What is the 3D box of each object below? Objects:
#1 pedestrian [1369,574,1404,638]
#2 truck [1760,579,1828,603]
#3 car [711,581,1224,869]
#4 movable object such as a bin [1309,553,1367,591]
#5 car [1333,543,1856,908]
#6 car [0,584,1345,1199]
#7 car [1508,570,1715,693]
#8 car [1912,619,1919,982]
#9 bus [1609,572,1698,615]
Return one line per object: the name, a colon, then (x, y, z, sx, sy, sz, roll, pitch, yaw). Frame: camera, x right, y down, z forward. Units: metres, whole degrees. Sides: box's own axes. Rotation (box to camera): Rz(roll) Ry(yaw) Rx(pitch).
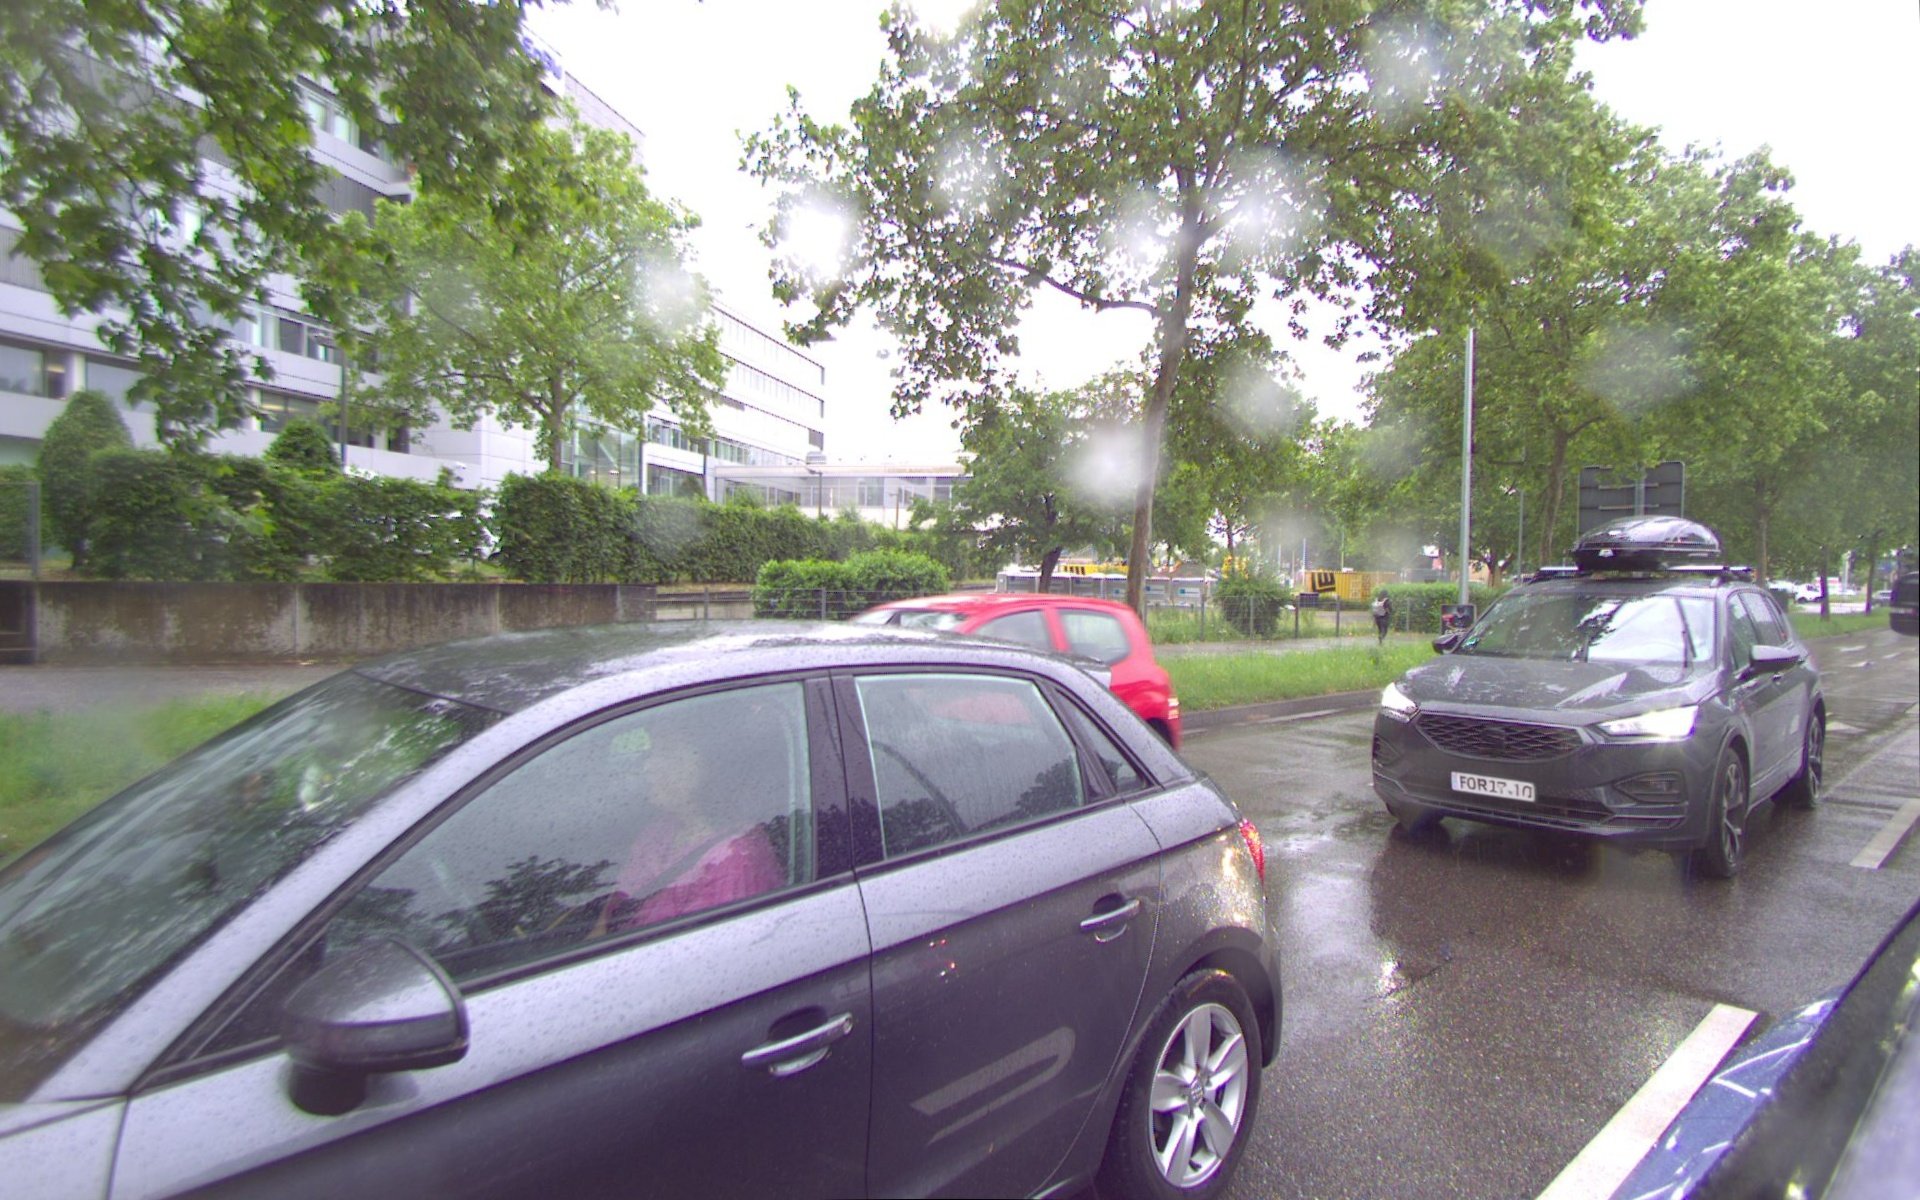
pedestrian: (11.730, 0.155, 27.823, 0.645, 1.738, 0.645, 0, 0, -40)
truck: (85.205, -0.910, 103.453, 4.988, 2.406, 1.785, 0, 0, 19)
car: (0.185, 0.633, 6.917, 3.331, 1.481, 1.571, 0, 0, -42)
movable object such as a bin: (35.859, -2.644, 96.081, 4.852, 3.478, 1.915, 0, 0, 6)
car: (4.534, 0.565, 6.930, 4.347, 1.719, 1.892, 0, 1, -42)
car: (-0.918, 0.702, 2.120, 3.715, 1.446, 1.679, 0, 1, -41)
car: (10.376, 0.466, 16.012, 4.074, 1.707, 1.677, 1, -1, -41)
car: (6.326, 0.180, 4.950, 5.599, 2.544, 2.024, 0, 1, -43)
bus: (43.734, -0.414, 63.907, 1.681, 2.600, 4.366, 0, 0, -41)
